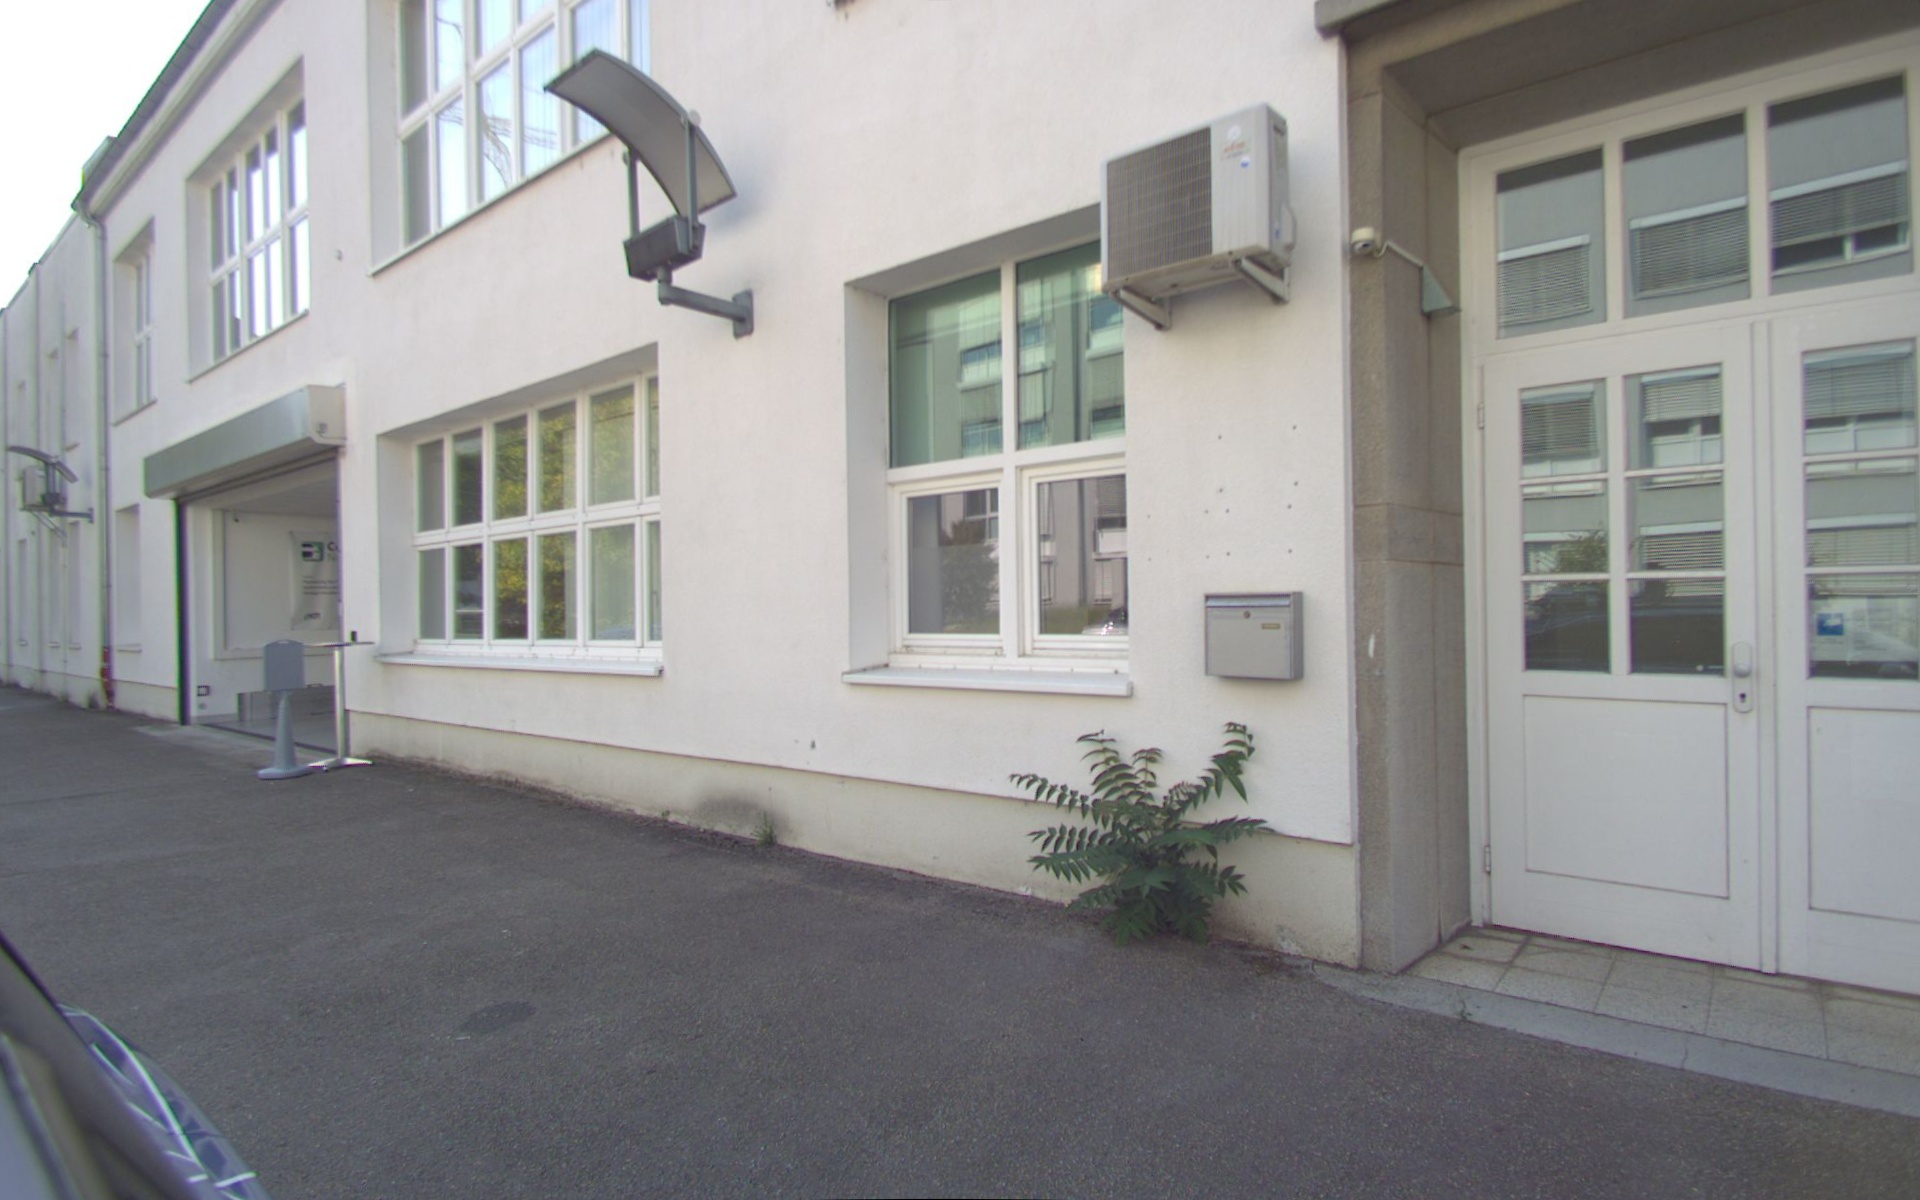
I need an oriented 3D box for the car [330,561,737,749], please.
[{"bbox_3d":[-5.593,0.585,13.827,2.054,2.108,4.699,-1,0,40],"label":"car"}]
